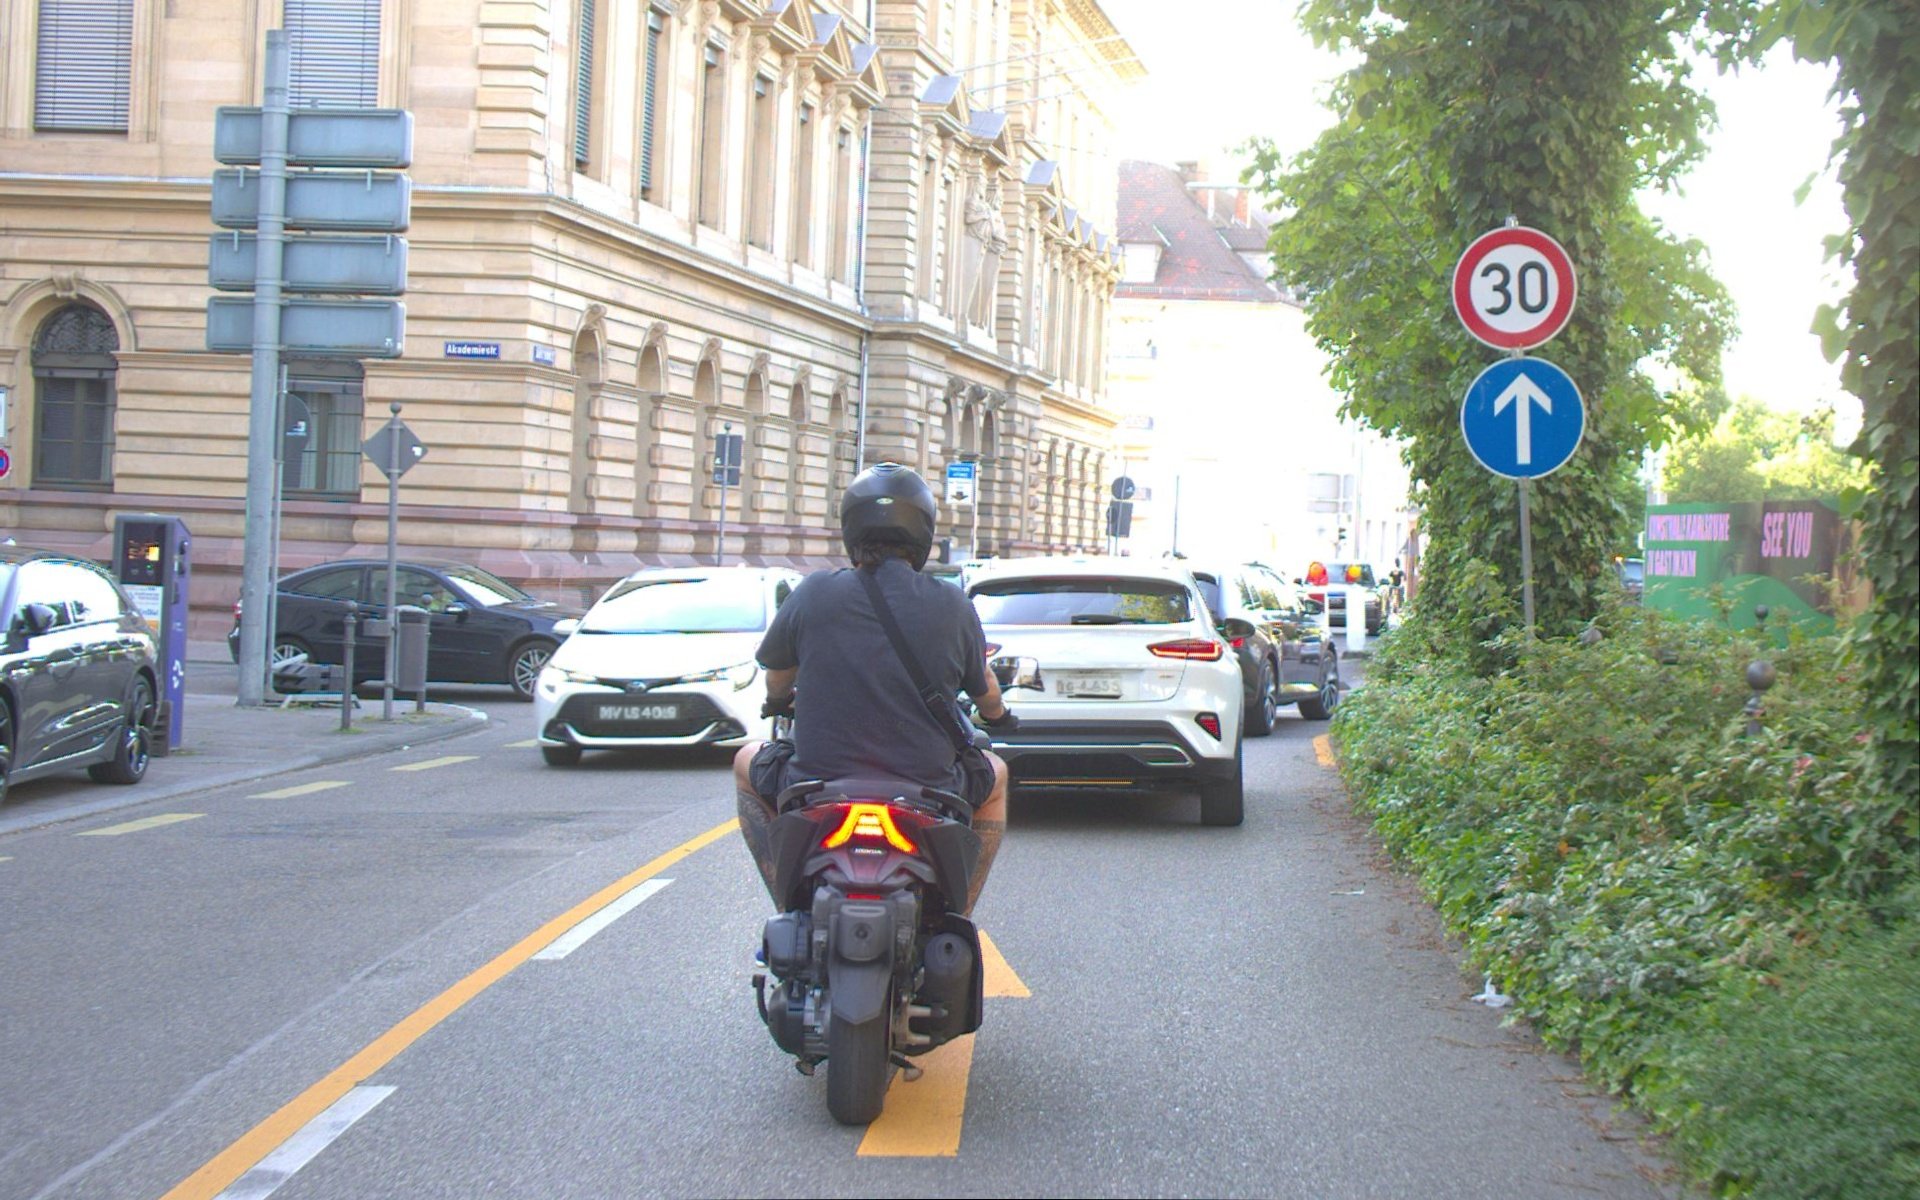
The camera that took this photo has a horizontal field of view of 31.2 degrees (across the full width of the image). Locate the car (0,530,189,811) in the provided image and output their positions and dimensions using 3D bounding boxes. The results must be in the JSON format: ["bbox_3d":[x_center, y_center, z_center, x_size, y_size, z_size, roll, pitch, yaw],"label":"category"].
[{"bbox_3d":[-6.141,0.343,20.491,1.824,1.498,4.760,3,1,2],"label":"car"}]

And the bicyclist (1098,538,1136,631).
[{"bbox_3d":[2.824,-0.285,61.929,0.566,1.661,0.834,1,1,8],"label":"bicyclist"}]

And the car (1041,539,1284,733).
[{"bbox_3d":[1.827,0.265,29.824,1.841,1.458,4.056,3,1,6],"label":"car"}]

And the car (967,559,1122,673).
[{"bbox_3d":[1.220,0.186,47.717,1.770,1.456,4.469,1,1,6],"label":"car"}]

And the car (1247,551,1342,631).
[{"bbox_3d":[7.397,-0.226,76.051,1.994,1.689,4.398,1,1,6],"label":"car"}]

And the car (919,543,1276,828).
[{"bbox_3d":[0.756,0.412,19.977,1.851,1.475,4.057,0,1,1],"label":"car"}]

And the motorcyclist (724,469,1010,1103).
[{"bbox_3d":[-0.243,0.489,9.433,0.657,1.645,0.650,3,1,2],"label":"motorcyclist"}]

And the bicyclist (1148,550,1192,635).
[{"bbox_3d":[4.054,-0.149,66.328,0.628,1.608,0.869,2,1,16],"label":"bicyclist"}]

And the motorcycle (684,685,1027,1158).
[{"bbox_3d":[-0.252,0.821,9.414,0.796,1.062,1.725,3,1,1],"label":"motorcycle"}]

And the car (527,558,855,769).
[{"bbox_3d":[-1.946,0.418,26.131,1.735,1.416,4.428,-1,1,5],"label":"car"}]

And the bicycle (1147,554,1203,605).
[{"bbox_3d":[4.459,-0.428,71.215,0.533,1.031,2.033,2,1,21],"label":"bicycle"}]

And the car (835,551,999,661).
[{"bbox_3d":[-0.609,0.053,52.350,1.994,1.561,4.288,1,1,6],"label":"car"}]

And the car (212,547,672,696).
[{"bbox_3d":[-5.292,0.195,35.323,4.315,1.385,1.775,1,1,11],"label":"car"}]

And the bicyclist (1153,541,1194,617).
[{"bbox_3d":[4.429,-0.440,71.259,0.629,1.548,0.731,2,1,22],"label":"bicyclist"}]

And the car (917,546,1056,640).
[{"bbox_3d":[0.500,-0.142,59.509,1.994,1.523,4.183,1,1,6],"label":"car"}]

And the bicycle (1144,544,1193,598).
[{"bbox_3d":[4.034,-0.565,66.419,0.533,1.031,1.905,2,1,16],"label":"bicycle"}]
